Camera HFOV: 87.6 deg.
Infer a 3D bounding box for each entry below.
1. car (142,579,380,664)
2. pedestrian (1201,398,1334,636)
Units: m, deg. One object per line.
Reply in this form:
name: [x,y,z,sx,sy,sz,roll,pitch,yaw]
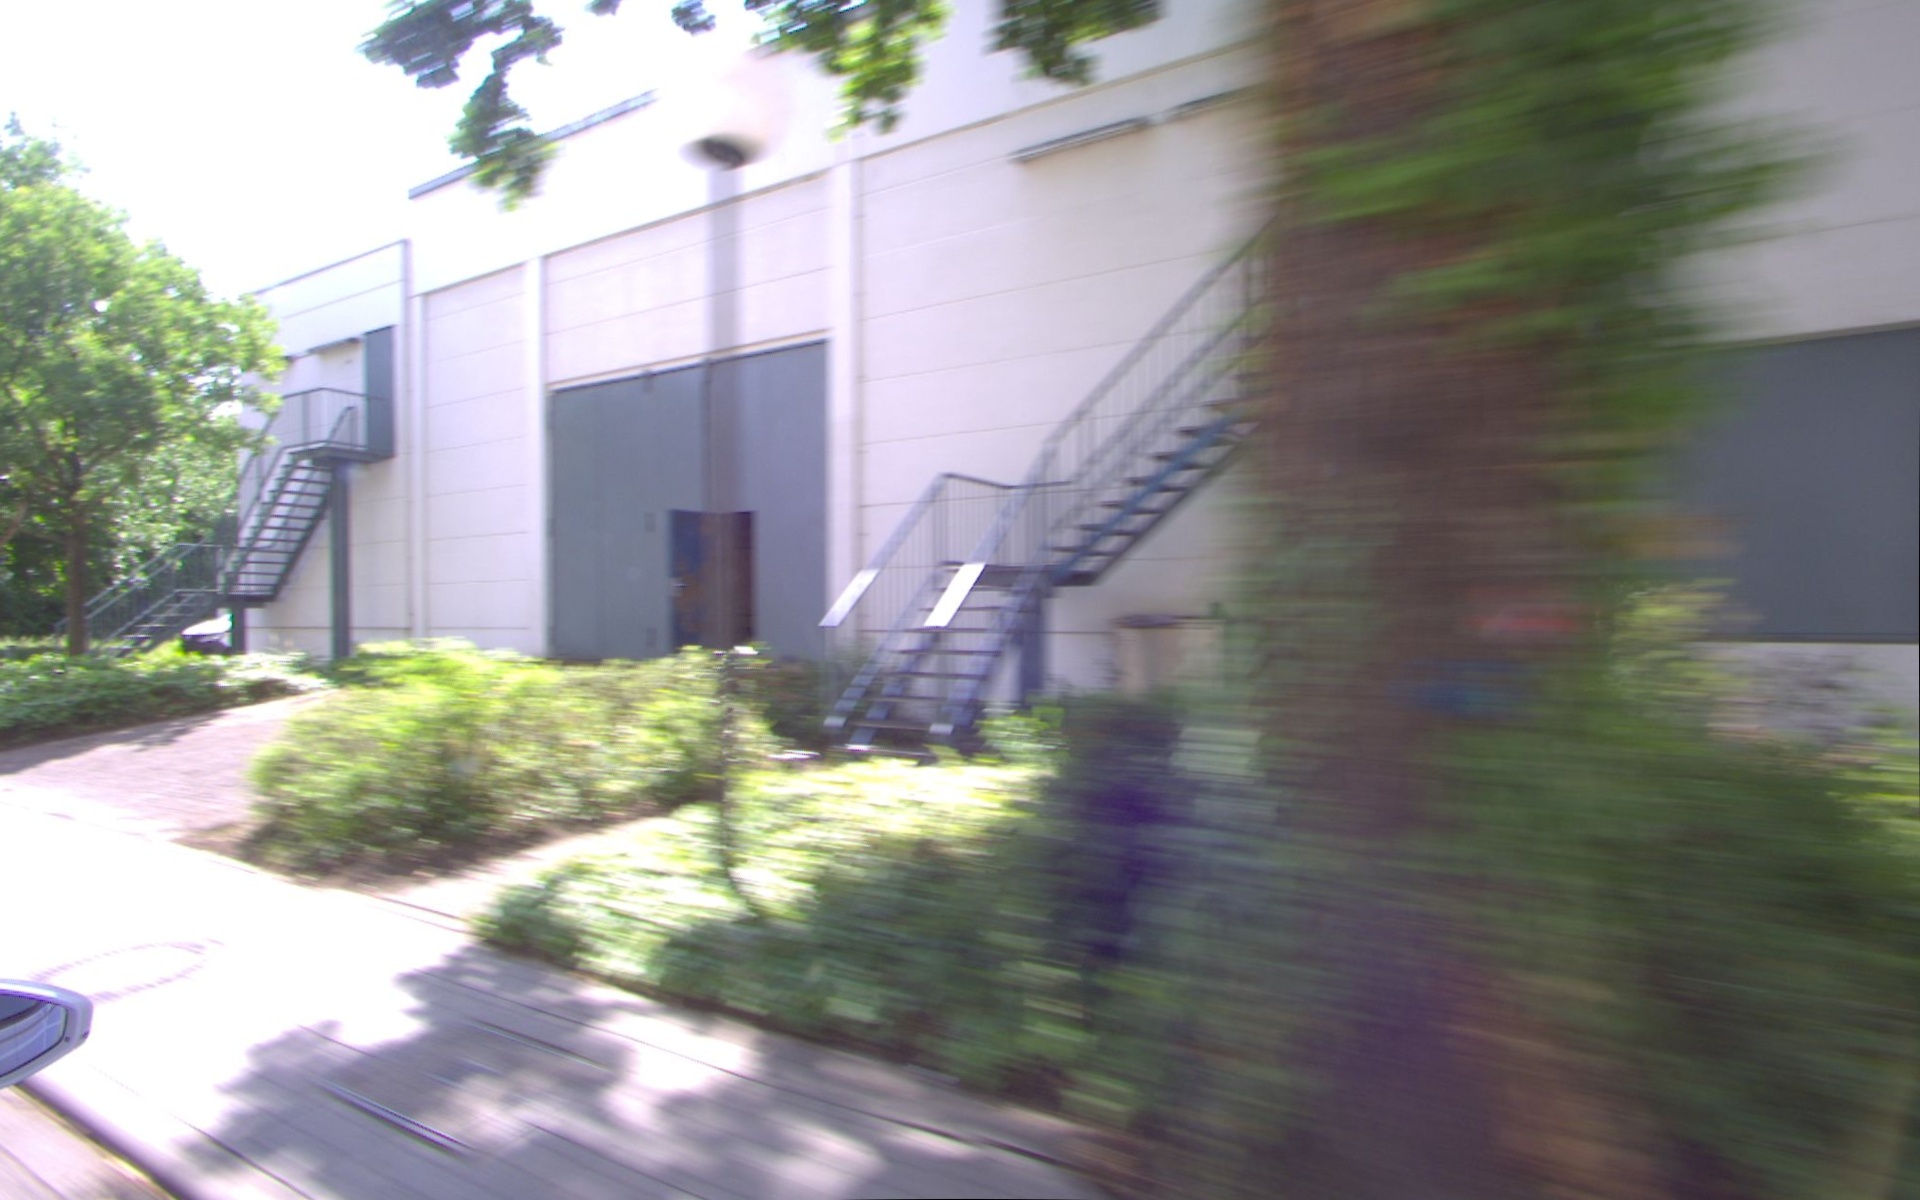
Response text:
car: [-18.460,0.534,26.691,2.032,2.040,4.815,0,0,32]
pedestrian: [2.840,-0.707,9.232,0.937,2.040,0.924,0,1,35]
